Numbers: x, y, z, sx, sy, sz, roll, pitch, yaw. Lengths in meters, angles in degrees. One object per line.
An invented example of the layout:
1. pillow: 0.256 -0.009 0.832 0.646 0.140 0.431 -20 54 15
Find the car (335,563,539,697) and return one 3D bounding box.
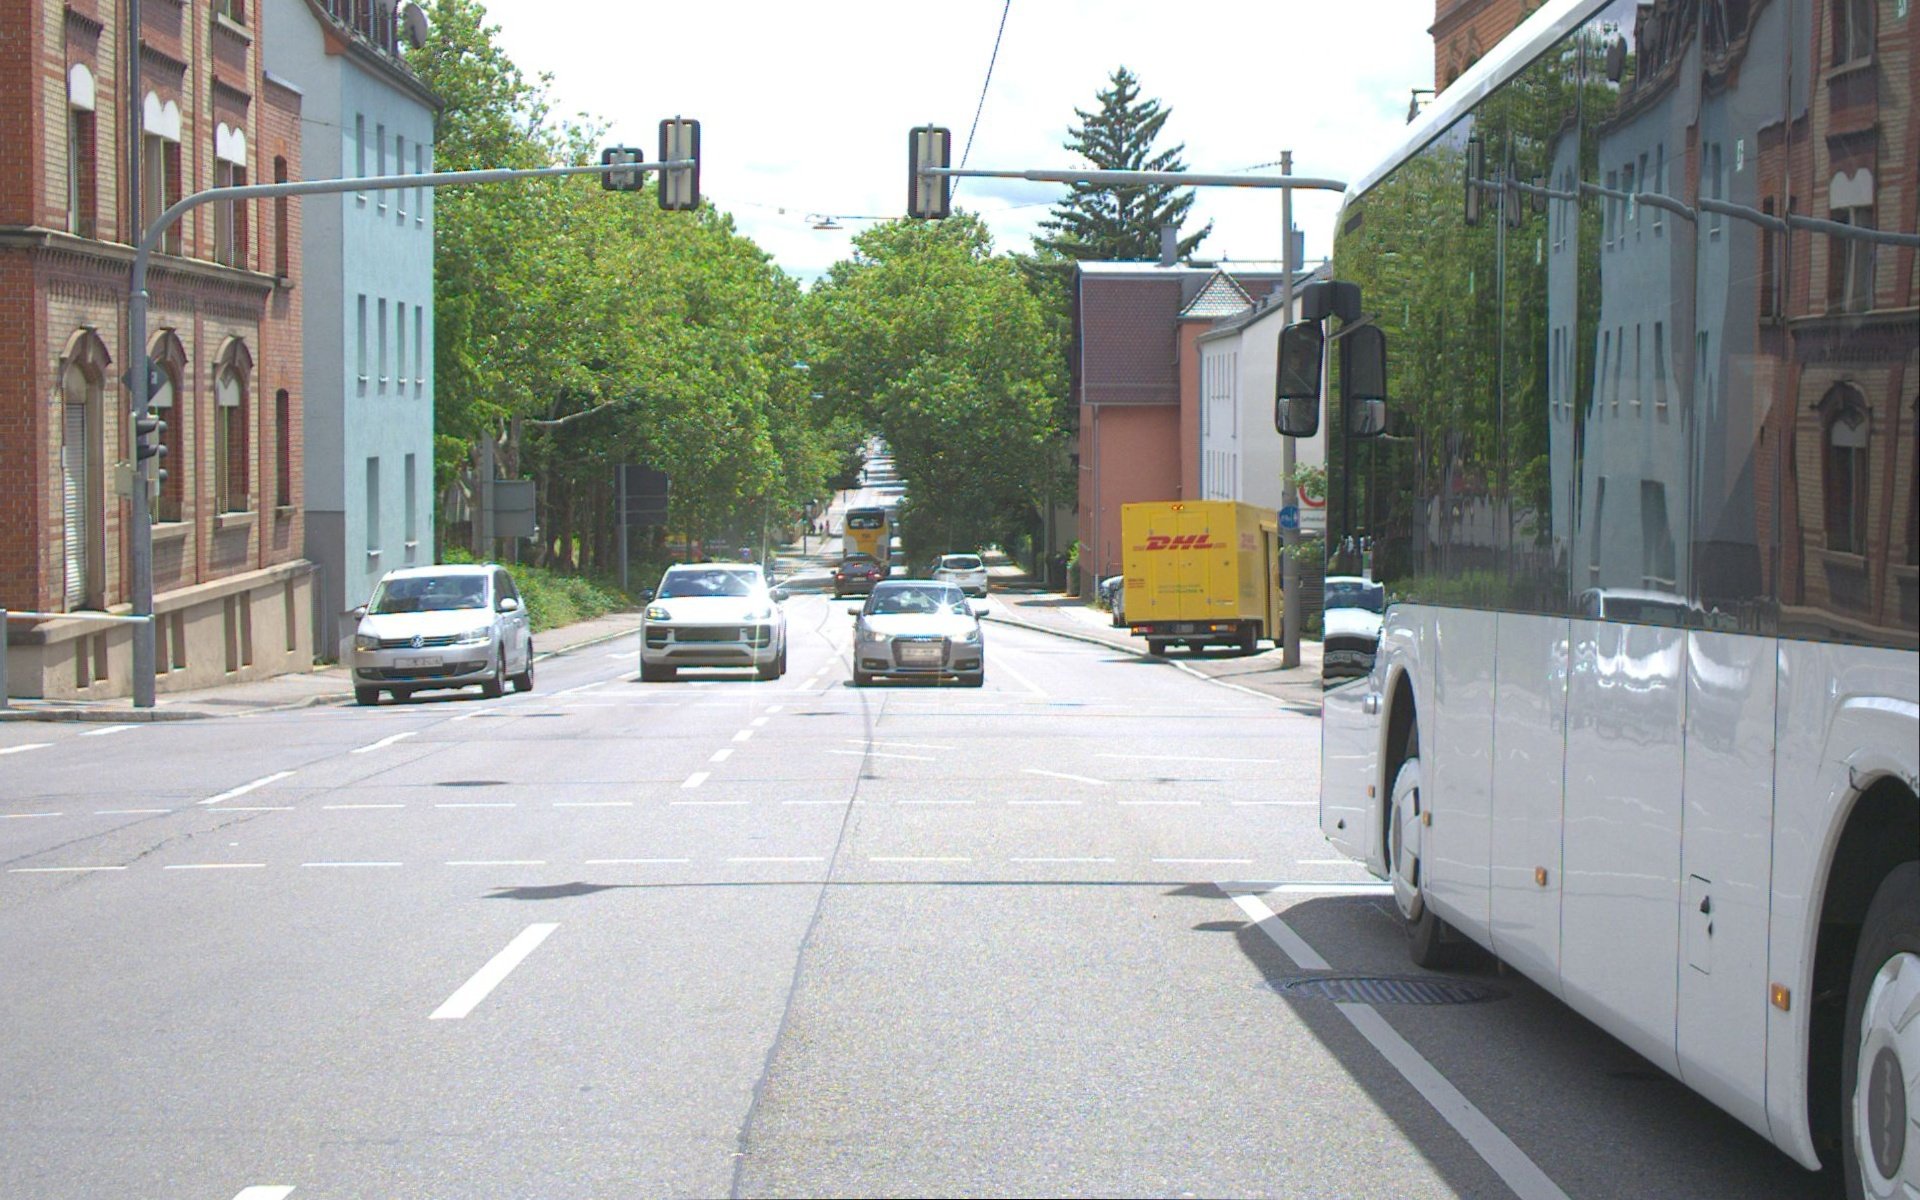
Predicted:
1. car: -6.526 0.338 43.327 1.935 1.558 4.389 -1 1 -1

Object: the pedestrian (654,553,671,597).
1. pedestrian: -11.819 -0.998 136.652 0.606 1.752 0.654 -1 1 -2

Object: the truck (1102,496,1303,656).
1. truck: 4.760 -0.465 66.241 2.543 2.903 6.567 1 1 16

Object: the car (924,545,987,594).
1. car: -0.180 -1.166 129.444 2.091 1.824 4.143 0 1 -4

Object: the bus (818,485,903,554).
1. bus: -5.501 -4.328 187.417 3.299 3.618 11.247 -1 1 -8

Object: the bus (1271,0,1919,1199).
1. bus: 2.953 -0.325 9.298 2.904 3.498 12.488 1 1 -1

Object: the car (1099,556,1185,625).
1. car: 4.908 -0.281 93.134 1.910 1.810 4.001 0 1 -3

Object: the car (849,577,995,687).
1. car: -0.513 0.398 46.653 1.865 1.363 4.547 -1 1 -1

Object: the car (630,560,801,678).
1. car: -3.519 0.238 50.263 2.207 1.607 4.547 -1 1 -1

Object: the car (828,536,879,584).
1. car: -4.011 -1.506 129.838 1.819 1.778 4.000 -1 1 -1
